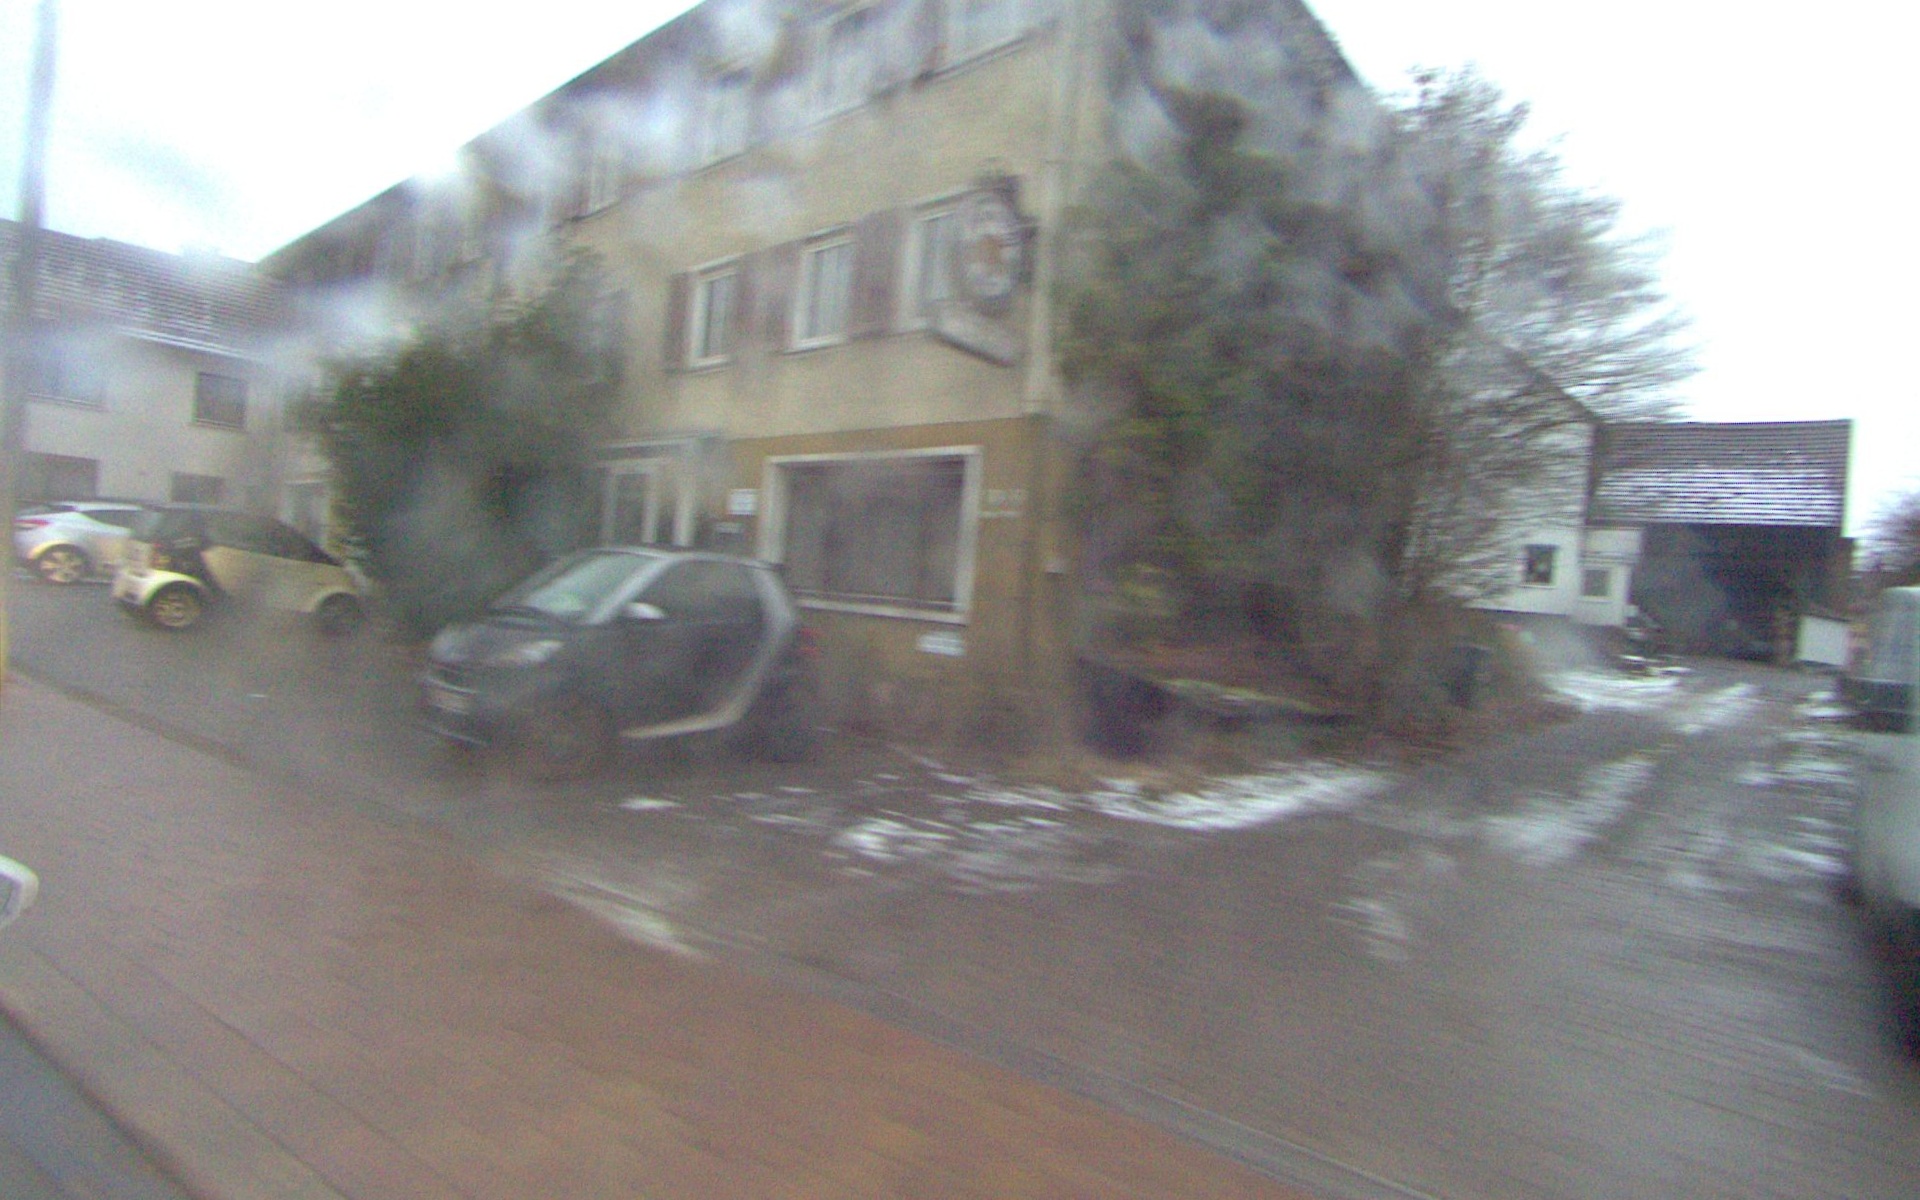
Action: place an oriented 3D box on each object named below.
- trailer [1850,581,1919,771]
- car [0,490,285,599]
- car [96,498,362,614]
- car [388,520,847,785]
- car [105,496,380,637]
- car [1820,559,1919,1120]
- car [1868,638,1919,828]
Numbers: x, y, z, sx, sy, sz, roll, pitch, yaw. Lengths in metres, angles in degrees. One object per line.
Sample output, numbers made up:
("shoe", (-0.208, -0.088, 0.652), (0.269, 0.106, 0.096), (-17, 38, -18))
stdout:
("trailer", (14.567, 1.068, 14.864), (1.815, 2.553, 3.971), (6, 4, 43))
("car", (-14.357, -0.934, 17.587), (1.726, 1.493, 3.891), (6, 1, 41))
("car", (-11.325, -0.650, 15.700), (1.528, 1.493, 3.057), (6, 1, 41))
("car", (-2.348, 0.335, 7.302), (1.406, 1.493, 2.759), (6, 1, 39))
("car", (-9.395, -0.405, 13.273), (1.528, 1.567, 2.579), (7, 2, 38))
("car", (5.405, 0.896, 4.554), (1.908, 1.914, 4.973), (7, 2, 38))
("car", (10.325, 1.294, 9.954), (1.855, 1.644, 3.974), (6, 3, 42))
